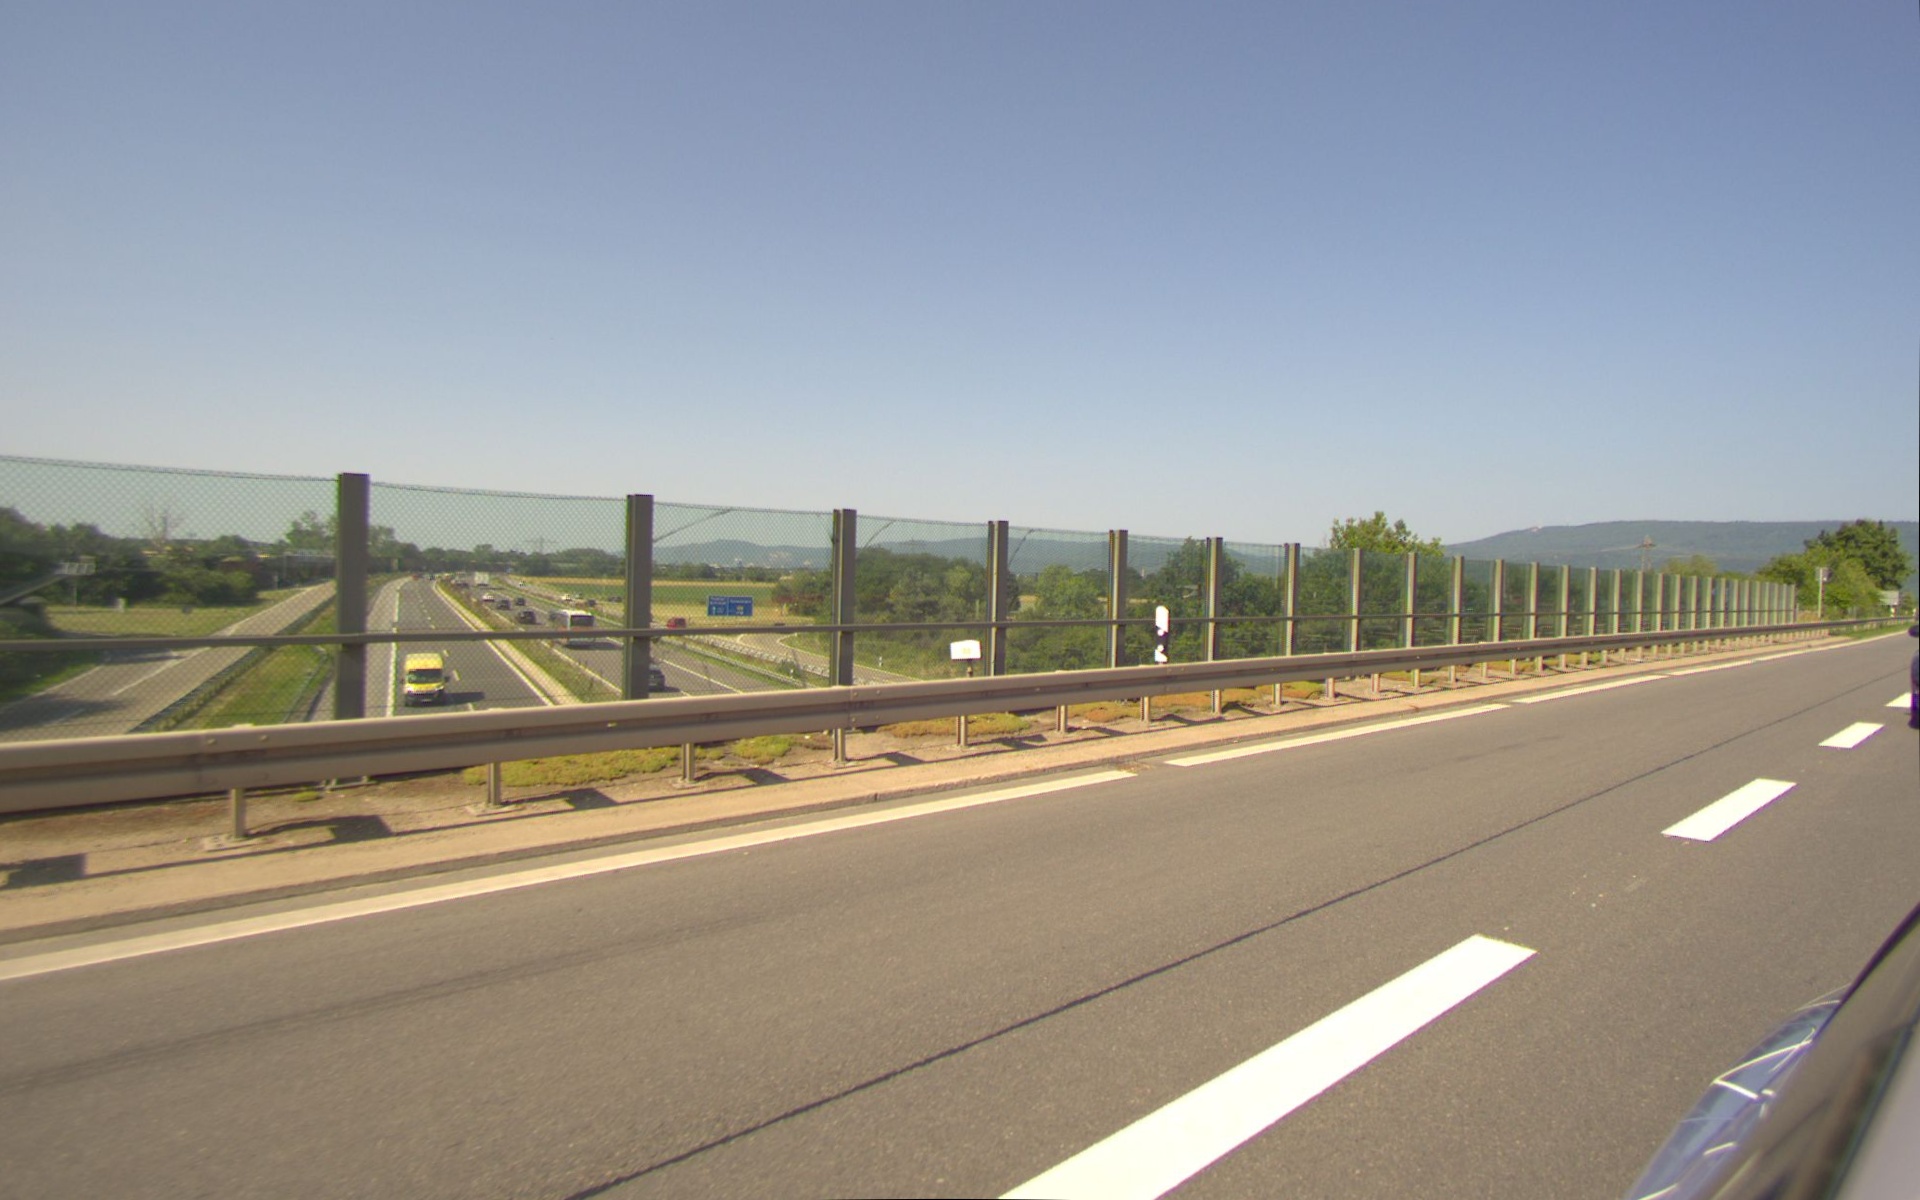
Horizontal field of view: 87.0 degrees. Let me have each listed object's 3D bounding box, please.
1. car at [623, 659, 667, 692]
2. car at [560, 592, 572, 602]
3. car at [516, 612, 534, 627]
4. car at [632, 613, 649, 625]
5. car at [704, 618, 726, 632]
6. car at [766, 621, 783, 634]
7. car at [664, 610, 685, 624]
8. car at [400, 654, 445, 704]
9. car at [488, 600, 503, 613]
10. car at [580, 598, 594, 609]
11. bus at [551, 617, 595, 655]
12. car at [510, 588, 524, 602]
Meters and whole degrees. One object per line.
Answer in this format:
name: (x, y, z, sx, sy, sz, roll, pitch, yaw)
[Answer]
car: (-20.089, 4.770, 64.469, 1.841, 1.787, 4.004, 0, 0, -29)
car: (-85.861, -0.701, 220.479, 1.960, 2.039, 4.004, 0, 0, -30)
car: (-53.800, 2.375, 125.138, 1.841, 1.787, 4.005, 0, 0, -28)
car: (-47.161, 2.780, 149.266, 1.744, 1.794, 4.006, 0, 0, -27)
car: (-32.143, 3.251, 132.575, 1.814, 1.705, 4.004, 0, 0, -30)
car: (-25.487, 3.783, 139.224, 1.815, 1.705, 4.004, 0, 0, -5)
car: (-36.544, 2.167, 129.376, 1.841, 1.787, 4.006, 0, 0, -26)
car: (-30.078, 4.353, 56.605, 2.093, 2.373, 4.994, 0, 0, -29)
car: (-71.958, 1.017, 156.790, 1.841, 2.037, 4.005, 0, 0, -28)
car: (-71.246, 0.625, 193.369, 1.960, 2.039, 4.004, 0, 0, -30)
bus: (-36.299, 3.281, 94.656, 2.499, 3.203, 8.398, 0, 0, -30)
car: (-76.571, -0.899, 174.931, 1.841, 2.388, 4.723, 0, 0, -29)
